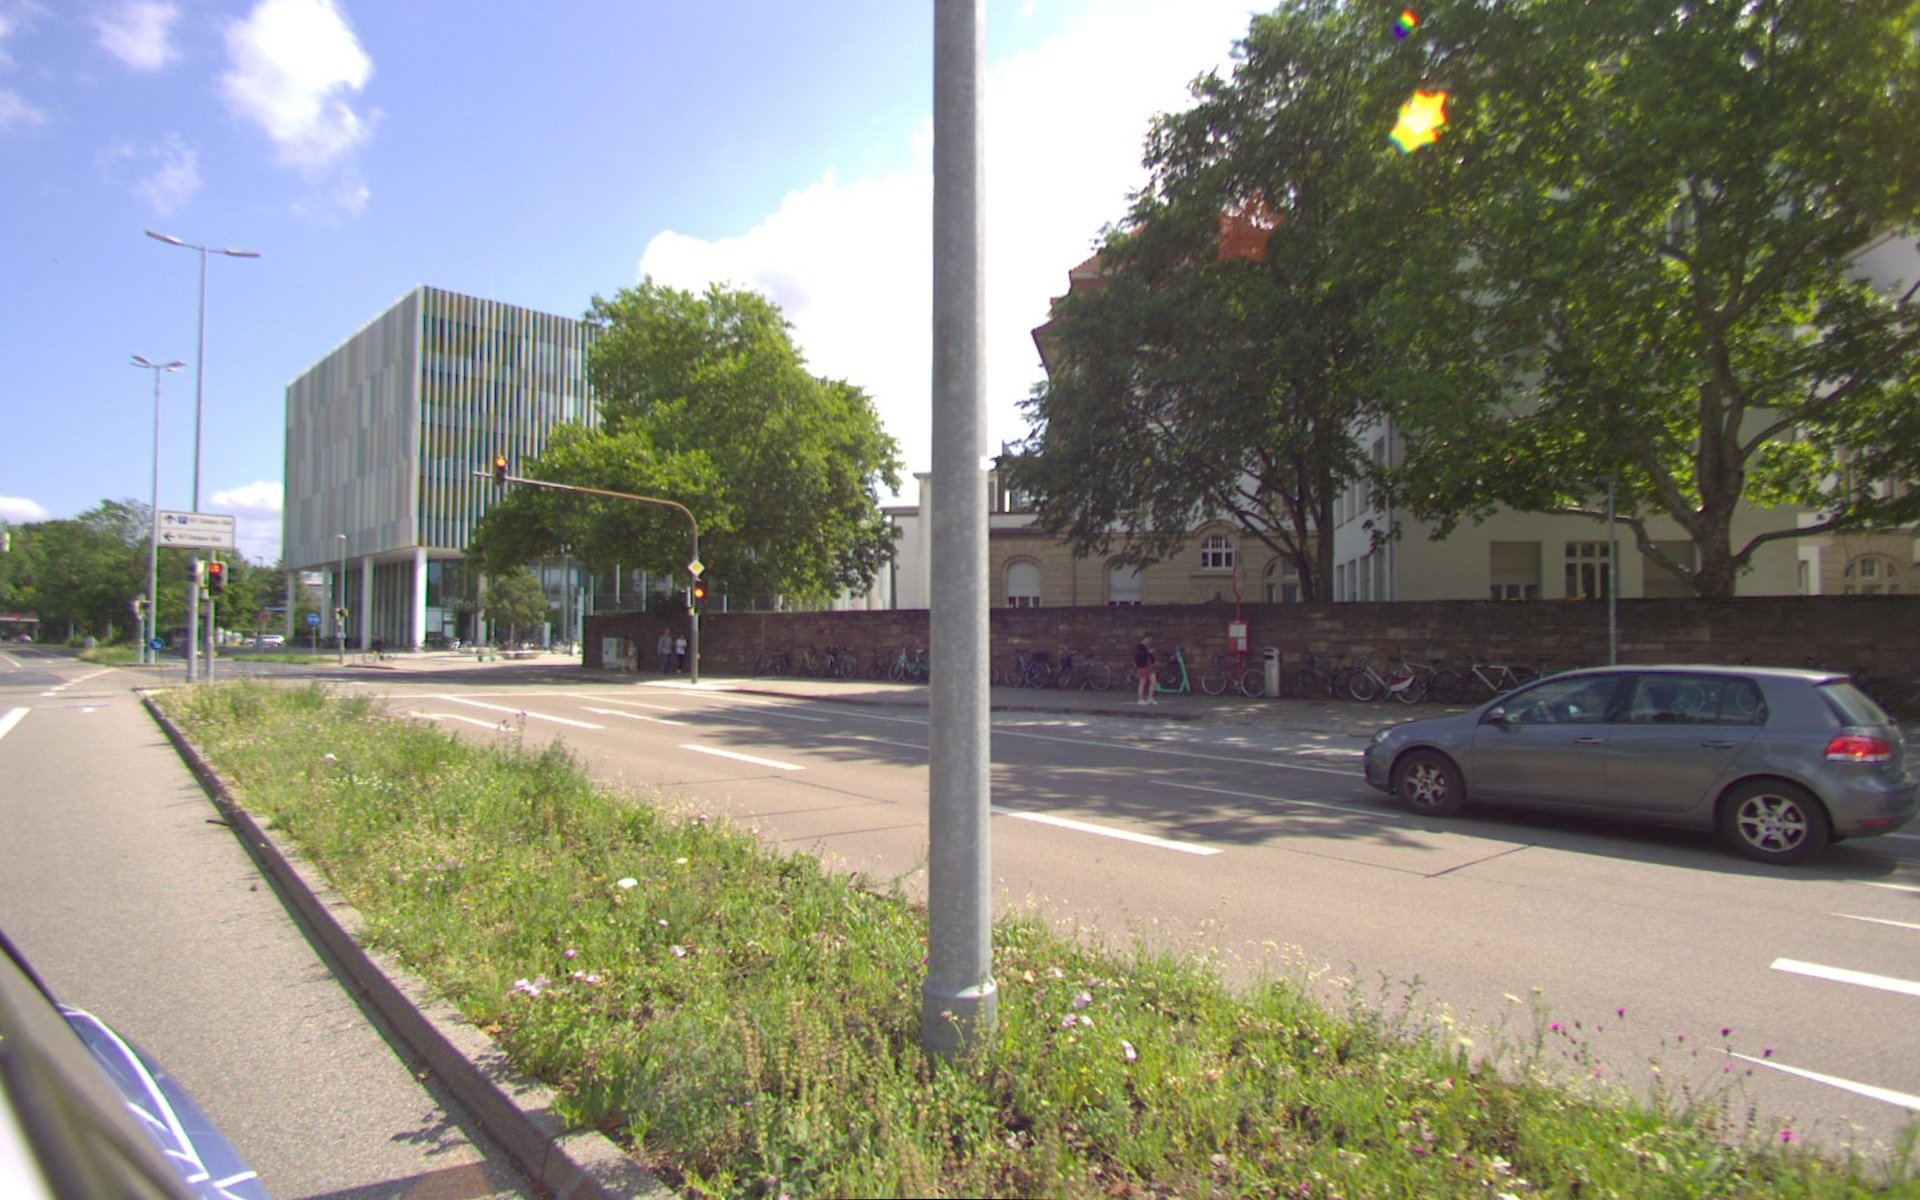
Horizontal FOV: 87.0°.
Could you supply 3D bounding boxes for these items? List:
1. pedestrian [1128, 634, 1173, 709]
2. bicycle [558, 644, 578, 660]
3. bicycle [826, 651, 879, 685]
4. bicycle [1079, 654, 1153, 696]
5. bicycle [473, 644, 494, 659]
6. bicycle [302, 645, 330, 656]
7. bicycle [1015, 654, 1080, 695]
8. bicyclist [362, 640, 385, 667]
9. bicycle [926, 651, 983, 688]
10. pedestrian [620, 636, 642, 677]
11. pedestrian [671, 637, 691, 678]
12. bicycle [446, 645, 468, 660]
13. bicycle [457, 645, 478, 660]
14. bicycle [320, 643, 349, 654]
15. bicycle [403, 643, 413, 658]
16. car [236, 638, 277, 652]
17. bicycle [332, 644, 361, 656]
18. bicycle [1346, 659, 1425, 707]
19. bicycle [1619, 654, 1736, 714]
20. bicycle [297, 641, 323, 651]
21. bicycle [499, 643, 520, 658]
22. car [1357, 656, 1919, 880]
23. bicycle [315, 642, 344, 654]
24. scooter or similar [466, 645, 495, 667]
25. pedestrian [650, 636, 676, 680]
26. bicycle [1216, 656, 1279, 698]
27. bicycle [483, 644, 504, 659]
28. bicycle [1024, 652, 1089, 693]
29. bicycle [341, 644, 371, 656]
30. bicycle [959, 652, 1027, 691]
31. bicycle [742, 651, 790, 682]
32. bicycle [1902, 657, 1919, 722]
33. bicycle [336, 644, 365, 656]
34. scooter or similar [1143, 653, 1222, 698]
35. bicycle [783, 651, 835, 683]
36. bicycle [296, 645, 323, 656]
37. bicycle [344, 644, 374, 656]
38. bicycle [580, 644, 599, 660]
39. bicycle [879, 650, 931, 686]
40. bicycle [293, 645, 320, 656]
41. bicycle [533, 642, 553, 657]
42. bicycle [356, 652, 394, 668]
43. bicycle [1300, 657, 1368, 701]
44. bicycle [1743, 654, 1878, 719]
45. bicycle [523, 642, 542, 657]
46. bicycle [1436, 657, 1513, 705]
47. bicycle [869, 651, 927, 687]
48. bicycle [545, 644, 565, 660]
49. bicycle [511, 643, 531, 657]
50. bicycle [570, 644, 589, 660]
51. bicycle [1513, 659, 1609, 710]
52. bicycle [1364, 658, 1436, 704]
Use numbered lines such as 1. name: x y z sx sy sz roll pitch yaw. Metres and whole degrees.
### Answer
1. pedestrian: 4.225 1.568 22.436 0.744 1.622 0.649 -2 -2 41
2. bicycle: -29.382 3.888 75.893 0.735 1.199 2.321 0 -2 -5
3. bicycle: -3.490 2.181 32.735 1.879 1.056 0.558 -2 -3 40
4. bicycle: 4.072 1.944 26.511 1.879 1.056 0.574 -2 -3 40
5. bicycle: -36.027 3.876 76.487 0.711 1.105 2.220 0 -2 -5
6. bicycle: -64.070 5.025 100.688 0.722 1.105 2.188 -2 -3 41
7. bicycle: 2.345 2.009 27.428 1.879 1.056 0.369 -2 -3 40
8. bicyclist: -33.344 3.043 57.552 0.931 1.475 0.633 0 -3 -10
9. bicycle: -0.176 2.045 30.038 1.879 1.056 0.366 -2 -3 40
10. pedestrian: -13.268 2.275 40.834 0.727 1.664 0.554 -2 -3 43
11. pedestrian: -10.765 2.200 39.030 0.616 1.552 0.471 -2 -3 43
12. bicycle: -38.254 3.991 77.025 0.711 1.105 2.220 0 -2 -5
13. bicycle: -37.504 3.990 77.105 0.711 1.105 2.220 0 -2 -5
14. bicycle: -59.375 4.600 96.098 0.722 1.105 2.188 -2 -3 41
15. bicycle: -41.847 3.833 76.652 0.539 1.105 1.638 2 -3 -32
16. car: -87.514 5.615 125.896 3.939 1.699 1.648 2 -3 -42
17. bicycle: -57.860 4.704 95.401 0.722 1.105 2.188 -2 -3 41
18. bicycle: 9.062 1.749 21.624 0.361 0.962 1.629 1 -3 -32
19. bicycle: 13.530 1.566 19.150 1.751 1.081 0.577 -2 -3 34
20. bicycle: -68.883 4.879 107.197 0.722 1.105 2.188 -2 -3 41
21. bicycle: -33.921 3.769 76.199 0.711 1.105 2.220 0 -2 -5
22. car: 5.841 1.252 8.804 1.679 1.456 4.151 4 -4 -41
23. bicycle: -60.178 4.604 96.619 0.722 1.105 2.188 -2 -3 41
24. scooter or similar: -25.812 2.986 54.484 0.500 1.166 1.492 -1 -3 21
25. pedestrian: -11.277 2.191 38.437 0.731 1.664 0.634 -2 -3 43
26. bicycle: 6.894 1.841 24.274 1.398 0.962 0.363 -2 -3 34
27. bicycle: -35.258 3.868 76.554 0.711 1.105 2.220 0 -2 -5
28. bicycle: 2.626 1.970 27.730 1.879 1.056 0.390 -2 -3 40
29. bicycle: -55.268 4.569 92.575 0.755 1.105 2.188 -2 -3 41
30. bicycle: 0.929 2.019 28.736 1.870 1.056 0.589 -1 -3 24
31. bicycle: -6.841 2.337 35.662 1.879 1.056 0.623 -2 -3 40
32. bicycle: 16.917 1.497 16.807 1.750 1.081 0.578 -2 -3 32
33. bicycle: -56.091 4.566 93.157 0.722 1.105 2.188 -2 -3 41
34. scooter or similar: 5.550 1.875 25.274 1.879 1.056 0.574 -2 -3 40
35. bicycle: -5.107 2.249 34.184 1.879 1.056 0.623 -2 -3 40
36. bicycle: -65.774 5.078 102.302 0.722 1.105 2.188 -2 -3 41
37. bicycle: -54.620 4.510 91.981 0.722 1.105 2.188 -2 -3 41
38. bicycle: -27.608 3.852 75.442 0.735 1.199 2.321 0 -2 -5
39. bicycle: -1.710 2.099 31.372 1.879 1.056 0.366 -2 -3 40
40. bicycle: -66.500 5.105 102.991 0.722 1.098 2.188 -2 -3 41
41. bicycle: -31.401 3.749 76.240 0.711 1.105 2.220 0 -2 -5
42. bicycle: -33.246 3.423 57.554 1.747 0.899 0.639 0 -3 -10
43. bicycle: 8.515 1.792 23.057 1.398 0.962 0.363 -2 -3 34
44. bicycle: 15.109 1.517 18.042 1.751 1.081 0.577 -2 -3 34
45. bicycle: -32.158 3.737 76.167 0.711 1.105 2.220 0 -2 -5
46. bicycle: 10.831 1.688 21.312 1.398 0.962 0.363 -2 -3 34
47. bicycle: -1.904 2.085 30.772 1.879 1.056 0.586 -2 -3 40
48. bicycle: -30.456 3.910 76.217 0.735 1.146 2.321 0 -2 -5
49. bicycle: -33.039 3.763 76.261 0.711 1.105 2.220 0 -2 -5
50. bicycle: -28.545 3.877 75.914 0.735 1.199 2.321 0 -2 -5
51. bicycle: 12.058 1.677 20.337 1.622 0.962 0.367 -2 -3 34
52. bicycle: 9.648 1.755 22.202 1.398 0.962 0.363 -2 -3 34
